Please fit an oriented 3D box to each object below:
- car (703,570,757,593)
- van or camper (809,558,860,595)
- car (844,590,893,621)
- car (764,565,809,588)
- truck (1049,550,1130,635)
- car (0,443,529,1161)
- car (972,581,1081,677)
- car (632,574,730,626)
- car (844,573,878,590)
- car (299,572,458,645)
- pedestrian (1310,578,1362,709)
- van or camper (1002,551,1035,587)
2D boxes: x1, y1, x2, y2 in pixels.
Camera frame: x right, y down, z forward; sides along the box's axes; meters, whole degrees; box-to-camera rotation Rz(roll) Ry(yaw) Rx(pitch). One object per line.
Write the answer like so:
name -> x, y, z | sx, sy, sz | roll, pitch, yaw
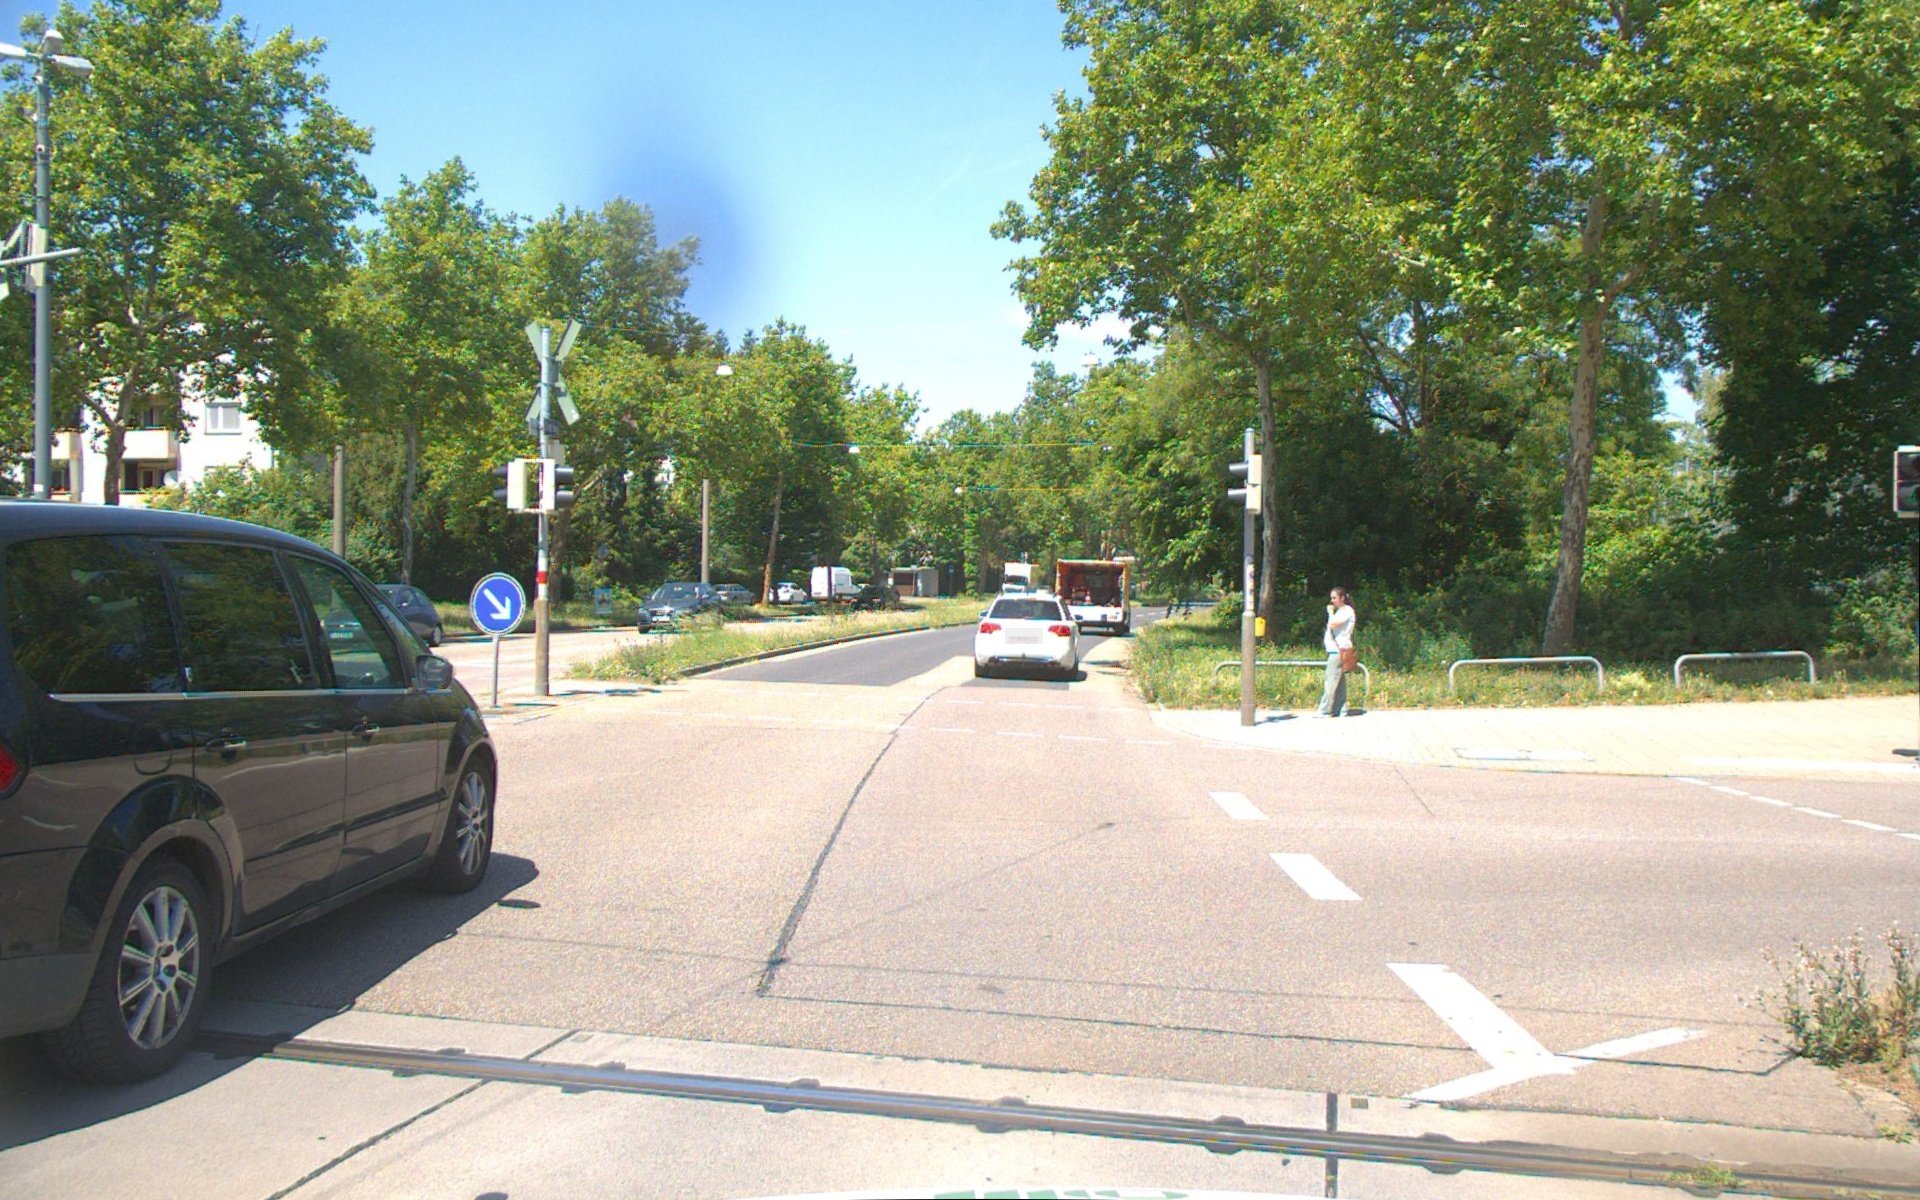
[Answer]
car -> -14.399, -1.167, 103.851 | 1.842, 1.400, 4.002 | 1, 1, 17
van or camper -> -9.292, -1.753, 122.678 | 2.136, 2.632, 5.313 | 1, 1, 14
car -> -4.971, 0.280, 90.560 | 1.773, 1.533, 4.598 | 1, 1, 9
car -> -11.865, -1.625, 113.414 | 1.841, 1.500, 4.004 | 1, 1, 13
truck -> 4.514, -0.361, 56.535 | 2.458, 2.603, 7.610 | 2, 2, 6
car -> -3.200, 0.448, 6.095 | 1.815, 1.786, 4.651 | 1, 1, 3
car -> 1.204, 0.449, 28.732 | 1.726, 1.470, 3.618 | 3, 1, 4
car -> -8.016, -0.021, 47.899 | 1.699, 1.419, 4.182 | -1, 1, 6
car -> -7.691, -1.459, 128.787 | 1.657, 1.306, 3.806 | 1, 1, 13
car -> -12.625, 0.147, 36.136 | 1.683, 1.480, 3.872 | 1, 1, 8
pedestrian -> 4.424, 0.496, 19.492 | 0.541, 1.510, 0.630 | 1, 1, 10
van or camper -> 5.704, -3.002, 161.614 | 2.604, 3.389, 5.505 | 1, 1, 8
